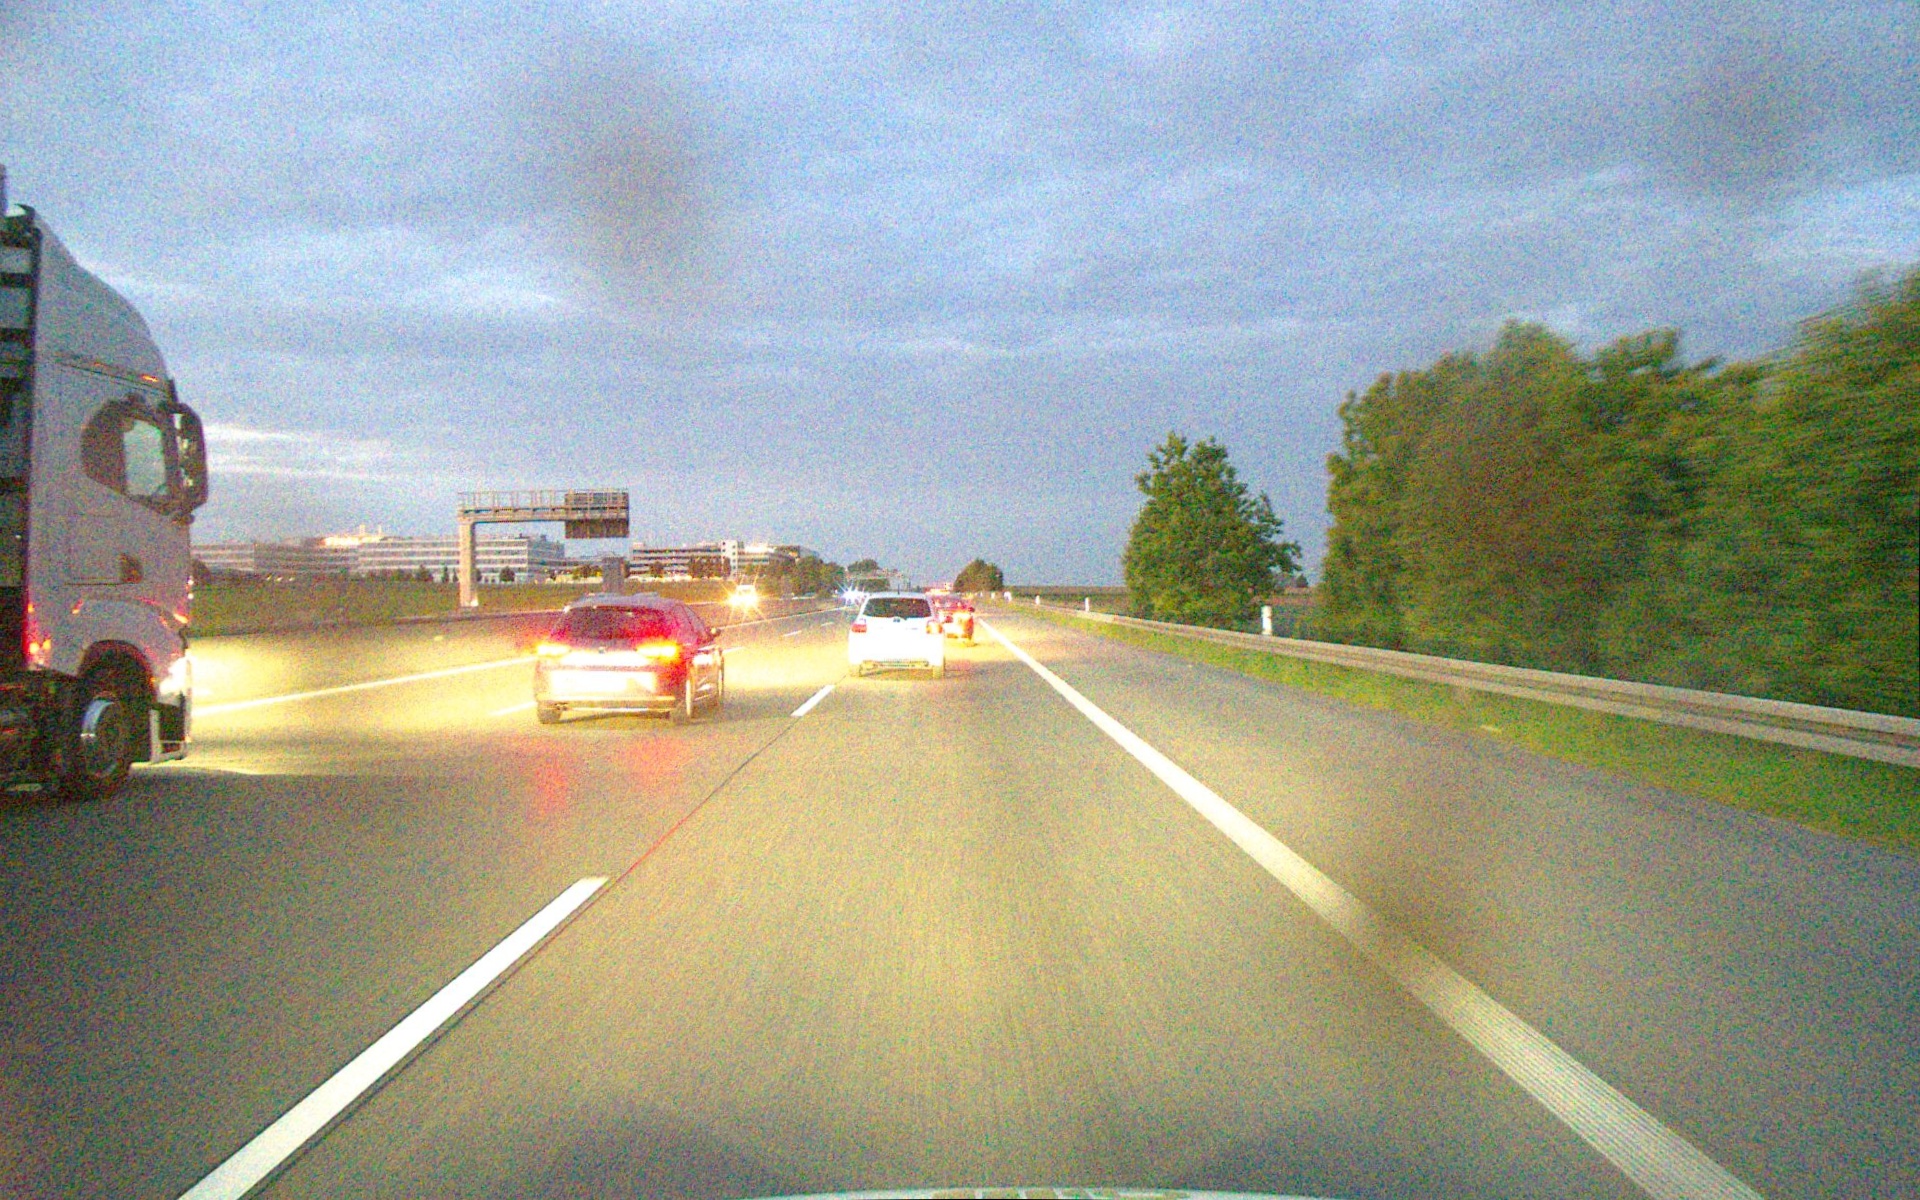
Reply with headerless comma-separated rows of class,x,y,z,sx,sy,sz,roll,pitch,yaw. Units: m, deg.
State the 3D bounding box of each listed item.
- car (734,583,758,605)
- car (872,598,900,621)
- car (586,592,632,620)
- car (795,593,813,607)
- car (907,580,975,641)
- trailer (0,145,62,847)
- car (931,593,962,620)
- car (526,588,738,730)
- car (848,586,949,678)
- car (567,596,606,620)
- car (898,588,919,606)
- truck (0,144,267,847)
car,-24.385,-0.636,188.474,1.953,2.429,5.835,1,0,-1
car,-5.227,0.705,117.441,1.842,1.579,3.999,1,0,-1
car,-16.140,0.285,76.115,1.418,1.254,3.506,1,0,-1
car,-18.468,-0.028,195.758,1.664,1.645,4.625,1,0,-1
car,-0.560,0.297,47.348,1.842,1.672,3.999,1,0,-1
trailer,-7.060,-0.638,3.173,2.737,4.157,14.524,0,0,0
car,-0.836,0.381,101.315,1.842,1.579,3.999,1,0,-1
car,-3.814,0.640,19.990,1.688,1.497,4.725,1,0,-1
car,-1.083,0.562,30.715,1.708,1.551,4.413,1,0,0
car,-20.139,0.430,89.160,1.336,1.283,3.506,1,0,-1
car,-5.655,-0.292,181.291,2.154,1.912,3.999,1,0,-1
truck,-7.046,-0.610,10.473,2.721,4.164,6.102,0,0,0
